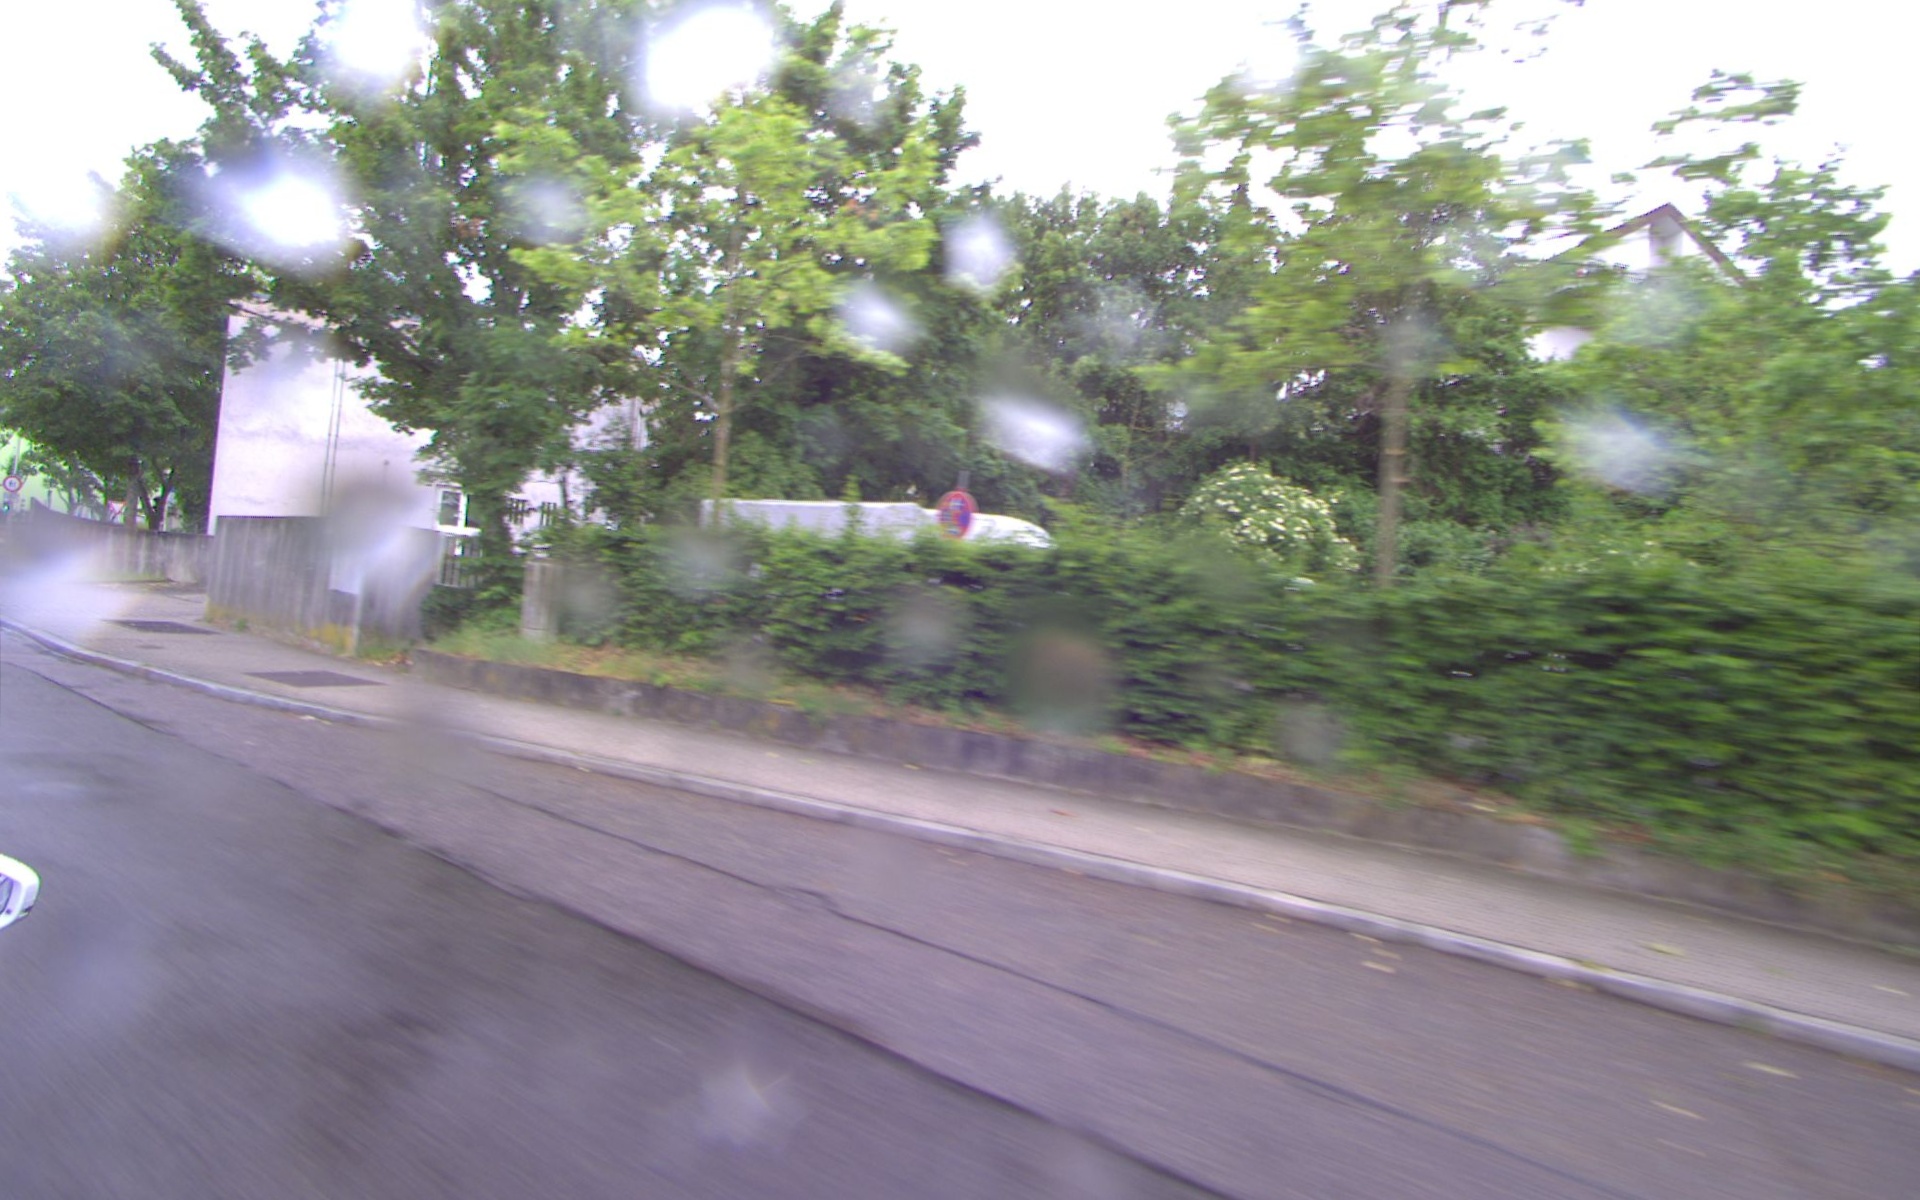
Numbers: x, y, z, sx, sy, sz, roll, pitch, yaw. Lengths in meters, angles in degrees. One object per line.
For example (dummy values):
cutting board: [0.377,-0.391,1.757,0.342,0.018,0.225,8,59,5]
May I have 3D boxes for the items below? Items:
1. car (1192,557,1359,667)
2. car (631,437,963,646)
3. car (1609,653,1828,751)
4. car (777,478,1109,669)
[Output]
car: [7.480,0.357,24.511,1.964,2.035,5.206,10,-2,-2]
car: [-2.358,-0.847,14.610,4.059,2.252,2.000,10,-1,25]
car: [18.044,2.364,24.233,1.772,1.788,4.181,10,-2,-2]
car: [-0.279,-0.441,17.049,4.926,2.310,2.052,10,-1,22]
